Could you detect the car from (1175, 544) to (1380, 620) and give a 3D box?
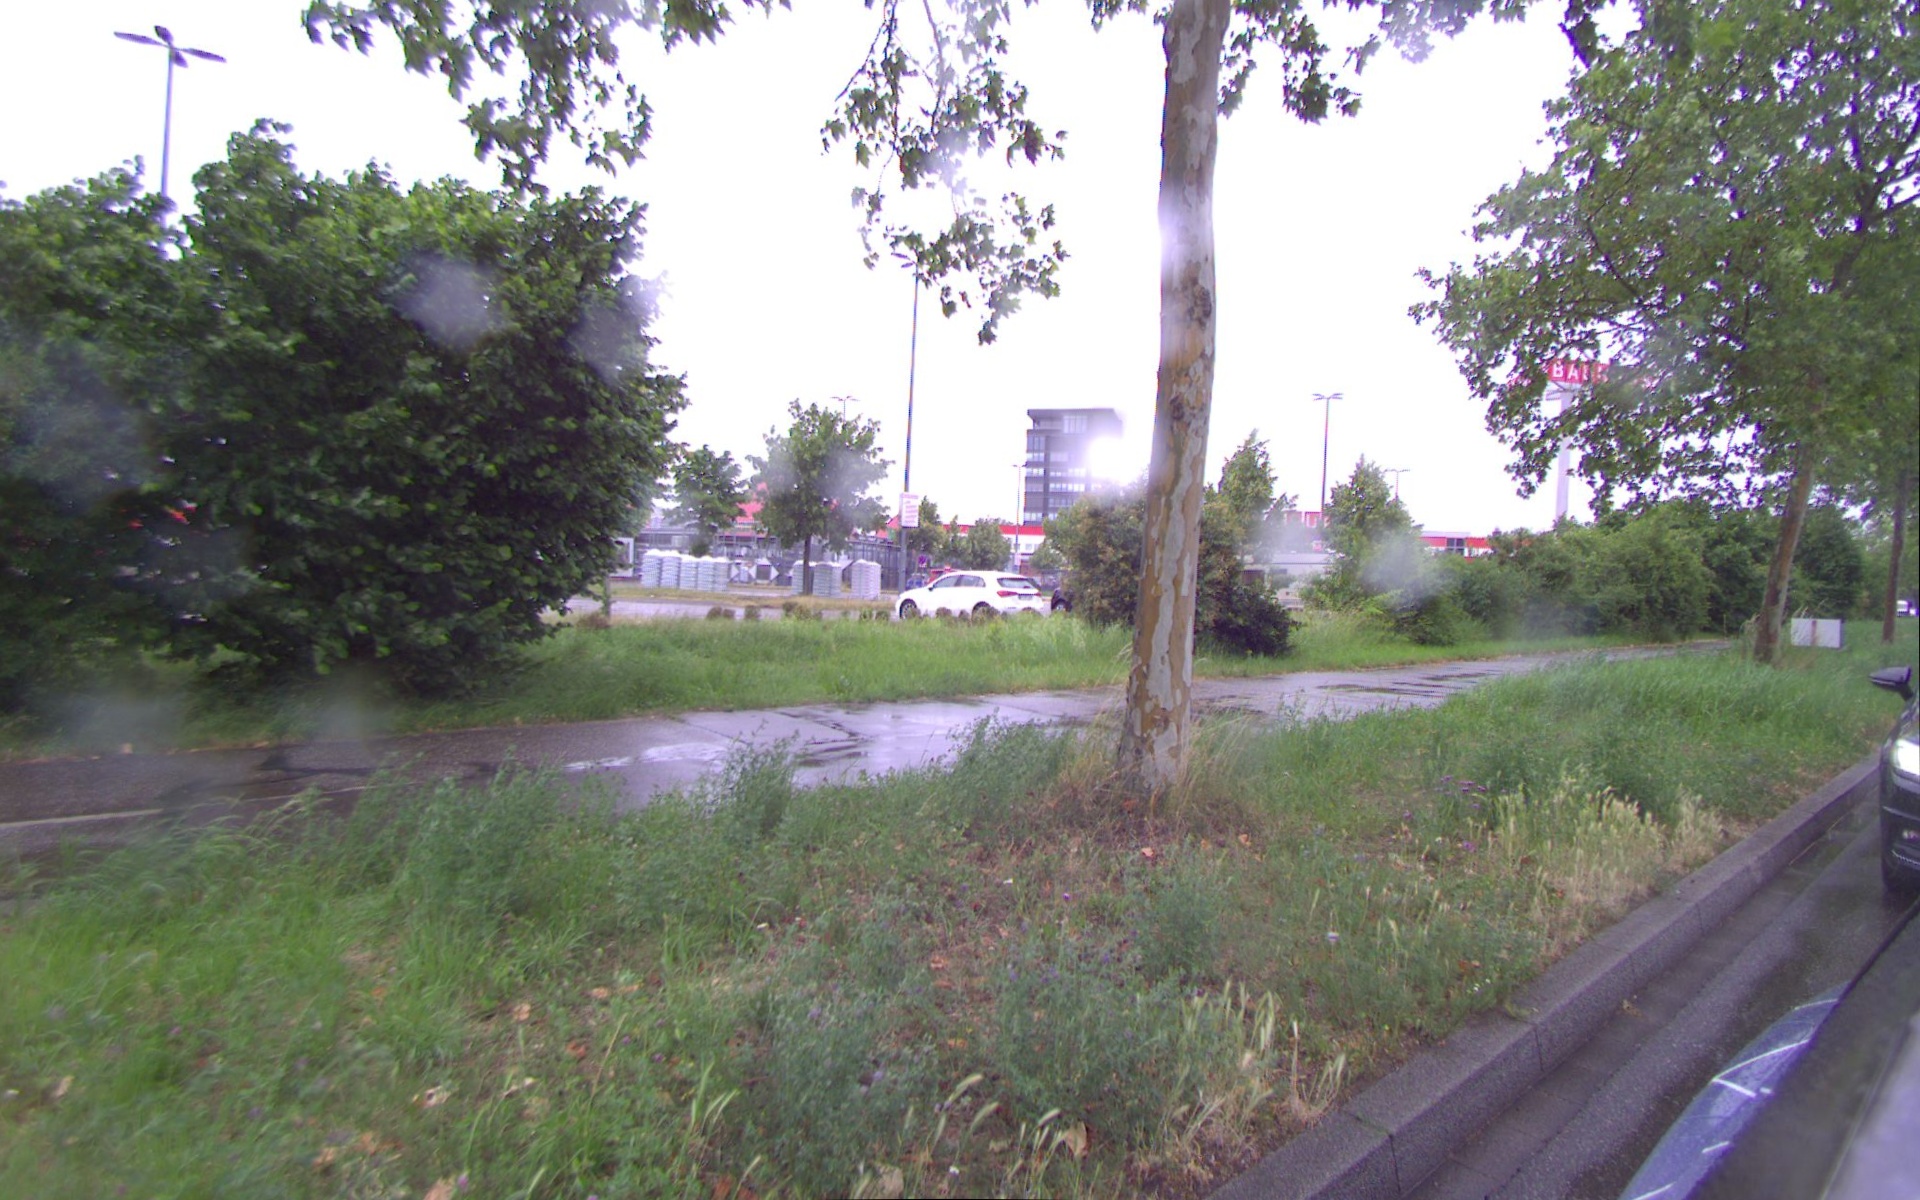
[{"bbox_3d":[10.947,-0.703,35.278,6.399,2.392,2.357,3,2,41],"label":"car"}]

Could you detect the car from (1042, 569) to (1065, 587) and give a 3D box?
[{"bbox_3d":[9.290,-2.176,99.858,1.970,1.697,4.264,2,2,9],"label":"car"}]

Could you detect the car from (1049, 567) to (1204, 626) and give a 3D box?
[{"bbox_3d":[4.922,-0.151,30.290,1.899,1.571,4.262,0,3,-45],"label":"car"}]

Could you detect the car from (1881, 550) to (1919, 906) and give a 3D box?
[{"bbox_3d":[6.551,0.580,5.610,4.548,1.625,1.768,0,0,-43],"label":"car"}]

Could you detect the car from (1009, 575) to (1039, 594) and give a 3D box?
[{"bbox_3d":[6.027,-1.451,94.718,1.973,1.697,4.255,2,2,14],"label":"car"}]

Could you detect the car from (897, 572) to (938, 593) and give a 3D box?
[{"bbox_3d":[-3.297,-1.407,79.225,1.905,1.571,4.249,2,2,18],"label":"car"}]

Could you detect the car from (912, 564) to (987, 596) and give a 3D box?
[{"bbox_3d":[-0.566,-1.121,57.235,3.937,1.749,1.885,0,0,12],"label":"car"}]

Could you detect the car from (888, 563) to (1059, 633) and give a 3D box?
[{"bbox_3d":[0.281,-0.110,25.935,1.899,1.571,4.262,0,3,-45],"label":"car"}]

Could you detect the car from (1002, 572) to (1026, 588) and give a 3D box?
[{"bbox_3d":[6.002,-2.281,112.494,1.973,1.697,4.257,2,2,13],"label":"car"}]

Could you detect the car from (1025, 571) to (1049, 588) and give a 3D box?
[{"bbox_3d":[8.497,-2.288,111.894,1.973,1.697,4.257,2,2,13],"label":"car"}]
